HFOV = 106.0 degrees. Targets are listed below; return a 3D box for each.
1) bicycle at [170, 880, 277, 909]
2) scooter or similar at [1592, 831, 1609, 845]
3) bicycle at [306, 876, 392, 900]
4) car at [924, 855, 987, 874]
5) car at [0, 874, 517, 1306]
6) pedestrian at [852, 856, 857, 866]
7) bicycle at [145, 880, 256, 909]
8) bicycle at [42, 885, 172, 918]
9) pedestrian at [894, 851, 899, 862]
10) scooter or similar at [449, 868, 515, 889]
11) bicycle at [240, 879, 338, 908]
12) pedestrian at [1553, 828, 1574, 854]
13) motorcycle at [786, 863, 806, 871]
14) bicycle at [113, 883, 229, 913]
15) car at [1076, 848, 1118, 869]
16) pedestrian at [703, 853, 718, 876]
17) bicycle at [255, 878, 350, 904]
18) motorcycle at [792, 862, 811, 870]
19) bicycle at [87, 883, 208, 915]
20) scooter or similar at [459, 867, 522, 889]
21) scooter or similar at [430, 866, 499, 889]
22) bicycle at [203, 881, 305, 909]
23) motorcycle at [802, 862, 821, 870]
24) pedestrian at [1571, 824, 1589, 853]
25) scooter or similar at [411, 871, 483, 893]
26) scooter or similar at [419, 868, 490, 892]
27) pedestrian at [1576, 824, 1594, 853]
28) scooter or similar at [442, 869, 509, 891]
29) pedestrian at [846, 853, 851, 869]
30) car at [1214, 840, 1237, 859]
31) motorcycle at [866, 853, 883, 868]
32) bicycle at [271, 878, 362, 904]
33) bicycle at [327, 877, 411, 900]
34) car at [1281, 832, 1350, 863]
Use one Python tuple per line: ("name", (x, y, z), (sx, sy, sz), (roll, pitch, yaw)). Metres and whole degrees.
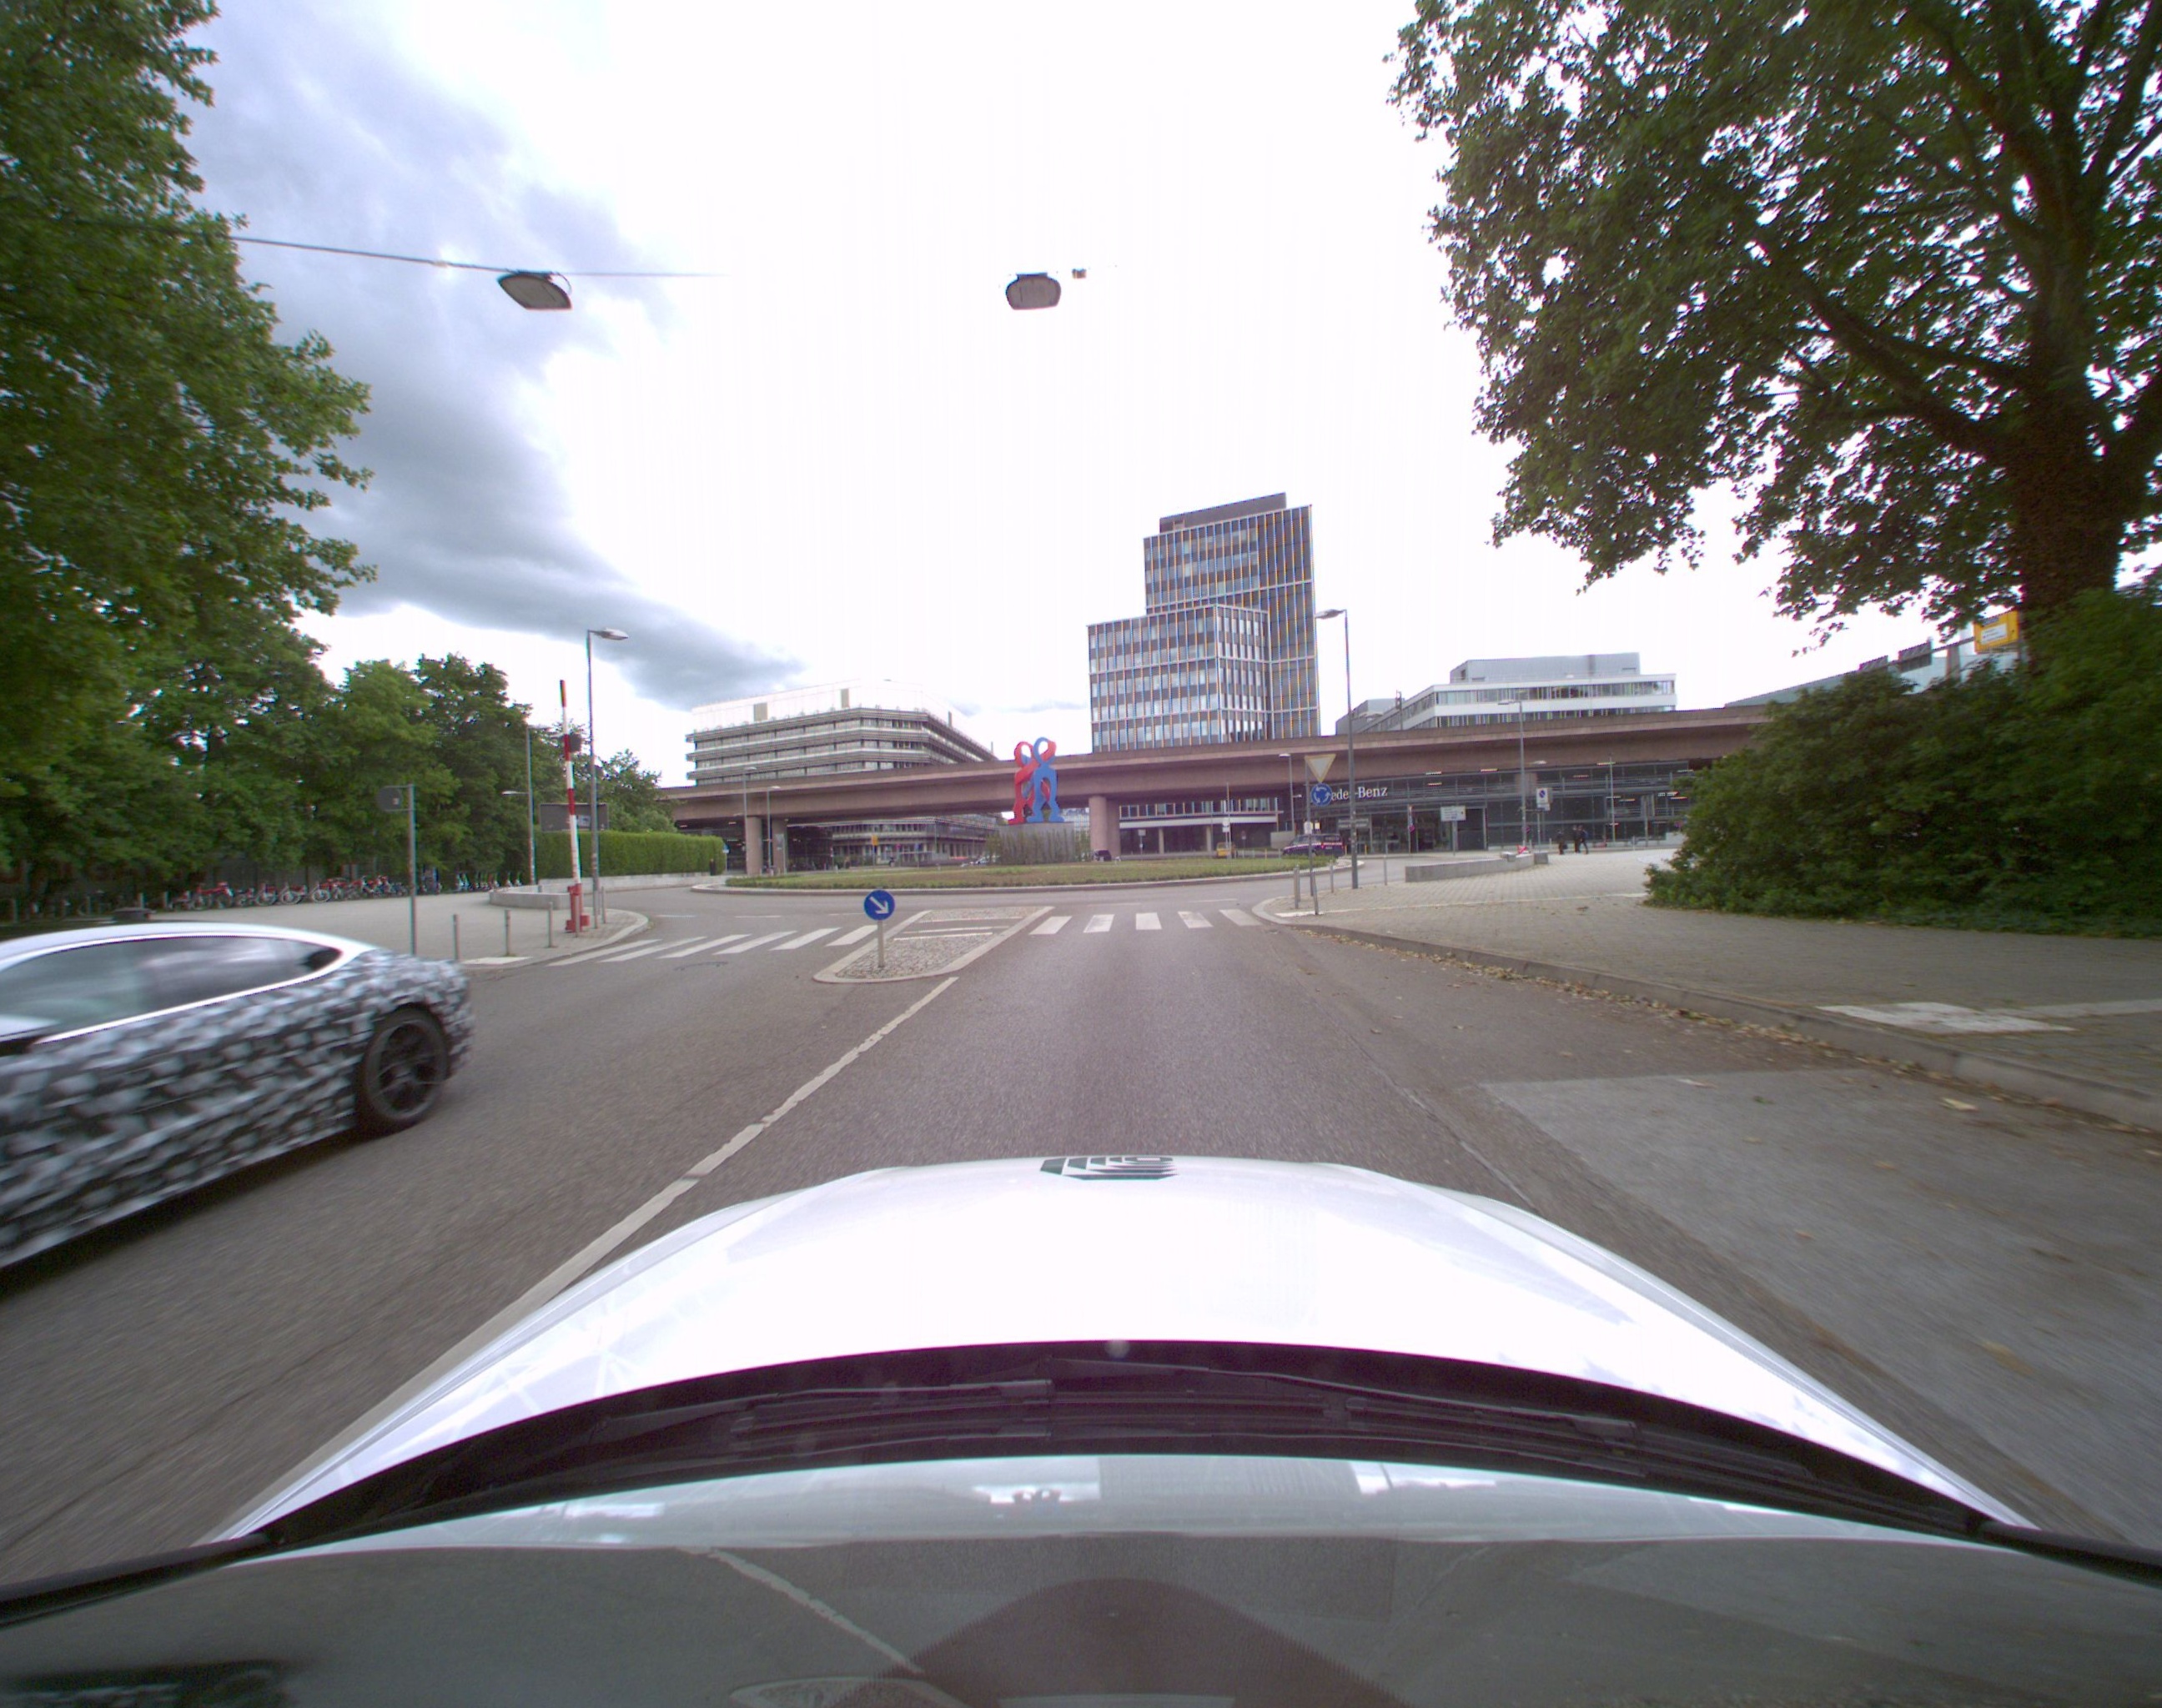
("bicycle", (-36.798, 1.706, 34.982), (3.188, 1.097, 0.769), (-1, 0, -16))
("scooter or similar", (45.586, -1.428, 71.449), (1.221, 1.194, 0.357), (-1, 0, 15))
("bicycle", (-36.706, 1.705, 40.889), (3.188, 1.097, 0.769), (-1, 0, -16))
("car", (-10.487, 0.890, 68.200), (4.902, 1.460, 2.000), (-1, 0, 0))
("car", (-4.920, 0.945, 3.525), (1.898, 1.453, 4.805), (-4, 1, -6))
("pedestrian", (-44.380, 1.378, 159.745), (0.779, 2.013, 0.665), (-1, 0, -23))
("bicycle", (-36.718, 1.676, 34.006), (3.187, 1.097, 0.769), (-1, 0, -15))
("bicycle", (-35.742, 1.724, 29.948), (3.187, 1.097, 0.769), (-1, 0, -15))
("pedestrian", (-35.891, 0.512, 158.282), (0.773, 2.013, 0.671), (-2, 0, 0))
("scooter or similar", (-37.514, 1.527, 51.047), (3.188, 1.249, 0.769), (-1, 0, -16))
("bicycle", (-36.192, 1.791, 37.251), (3.188, 1.097, 0.769), (-3, 0, -16))
("pedestrian", (29.252, -0.771, 49.369), (0.827, 1.570, 0.691), (-1, 0, 3))
("motorcycle", (-41.860, 1.848, 119.694), (2.630, 1.112, 1.045), (-1, 0, 21))
("bicycle", (-36.438, 1.749, 32.667), (3.187, 1.097, 0.769), (-1, 0, -15))
("car", (1.526, 0.388, 75.083), (1.974, 1.772, 4.026), (-2, 0, 34))
("pedestrian", (-33.083, 0.946, 72.749), (1.043, 2.013, 0.597), (-1, 0, -12))
("bicycle", (-36.610, 1.735, 38.344), (3.188, 1.097, 0.769), (-1, 0, -16))
("motorcycle", (-41.512, 1.842, 120.950), (2.630, 1.112, 1.045), (-1, 0, 21))
("bicycle", (-36.287, 1.741, 31.702), (3.187, 1.097, 0.769), (-1, 0, -15))
("scooter or similar", (-37.652, 1.532, 51.964), (3.188, 1.249, 0.769), (-1, 0, -16))
("scooter or similar", (-36.754, 1.407, 48.595), (3.188, 1.249, 0.769), (-1, 0, -16))
("bicycle", (-36.647, 1.811, 36.135), (3.188, 1.097, 0.769), (-2, 0, -16))
("motorcycle", (-40.514, 1.821, 122.470), (2.630, 1.112, 1.045), (-1, 0, 21))
("pedestrian", (30.382, -0.936, 49.584), (0.823, 1.740, 0.694), (-2, 0, 27))
("scooter or similar", (-36.243, 1.588, 46.596), (3.188, 1.097, 0.769), (-1, 0, -16))
("scooter or similar", (-36.505, 1.509, 47.501), (3.188, 1.249, 0.769), (-1, 0, -16))
("pedestrian", (31.034, -0.928, 50.189), (0.823, 1.740, 0.694), (-2, 0, 23))
("scooter or similar", (-37.155, 1.566, 49.993), (3.188, 1.249, 0.769), (-1, 0, -16))
("pedestrian", (-30.759, 0.916, 107.855), (0.588, 2.013, 0.597), (-1, 0, -11))
("car", (16.562, -0.517, 93.264), (1.978, 2.013, 4.018), (-1, 0, 18))
("motorcycle", (-17.791, 0.569, 70.113), (0.664, 1.251, 1.891), (-1, 0, 11))
("bicycle", (-36.927, 1.776, 39.378), (3.188, 1.097, 0.769), (-1, 0, -16))
("bicycle", (-36.772, 1.775, 42.099), (3.188, 1.097, 0.769), (-1, 0, -16))
("car", (16.263, -0.410, 56.852), (2.283, 2.013, 4.752), (-1, 0, -20))
